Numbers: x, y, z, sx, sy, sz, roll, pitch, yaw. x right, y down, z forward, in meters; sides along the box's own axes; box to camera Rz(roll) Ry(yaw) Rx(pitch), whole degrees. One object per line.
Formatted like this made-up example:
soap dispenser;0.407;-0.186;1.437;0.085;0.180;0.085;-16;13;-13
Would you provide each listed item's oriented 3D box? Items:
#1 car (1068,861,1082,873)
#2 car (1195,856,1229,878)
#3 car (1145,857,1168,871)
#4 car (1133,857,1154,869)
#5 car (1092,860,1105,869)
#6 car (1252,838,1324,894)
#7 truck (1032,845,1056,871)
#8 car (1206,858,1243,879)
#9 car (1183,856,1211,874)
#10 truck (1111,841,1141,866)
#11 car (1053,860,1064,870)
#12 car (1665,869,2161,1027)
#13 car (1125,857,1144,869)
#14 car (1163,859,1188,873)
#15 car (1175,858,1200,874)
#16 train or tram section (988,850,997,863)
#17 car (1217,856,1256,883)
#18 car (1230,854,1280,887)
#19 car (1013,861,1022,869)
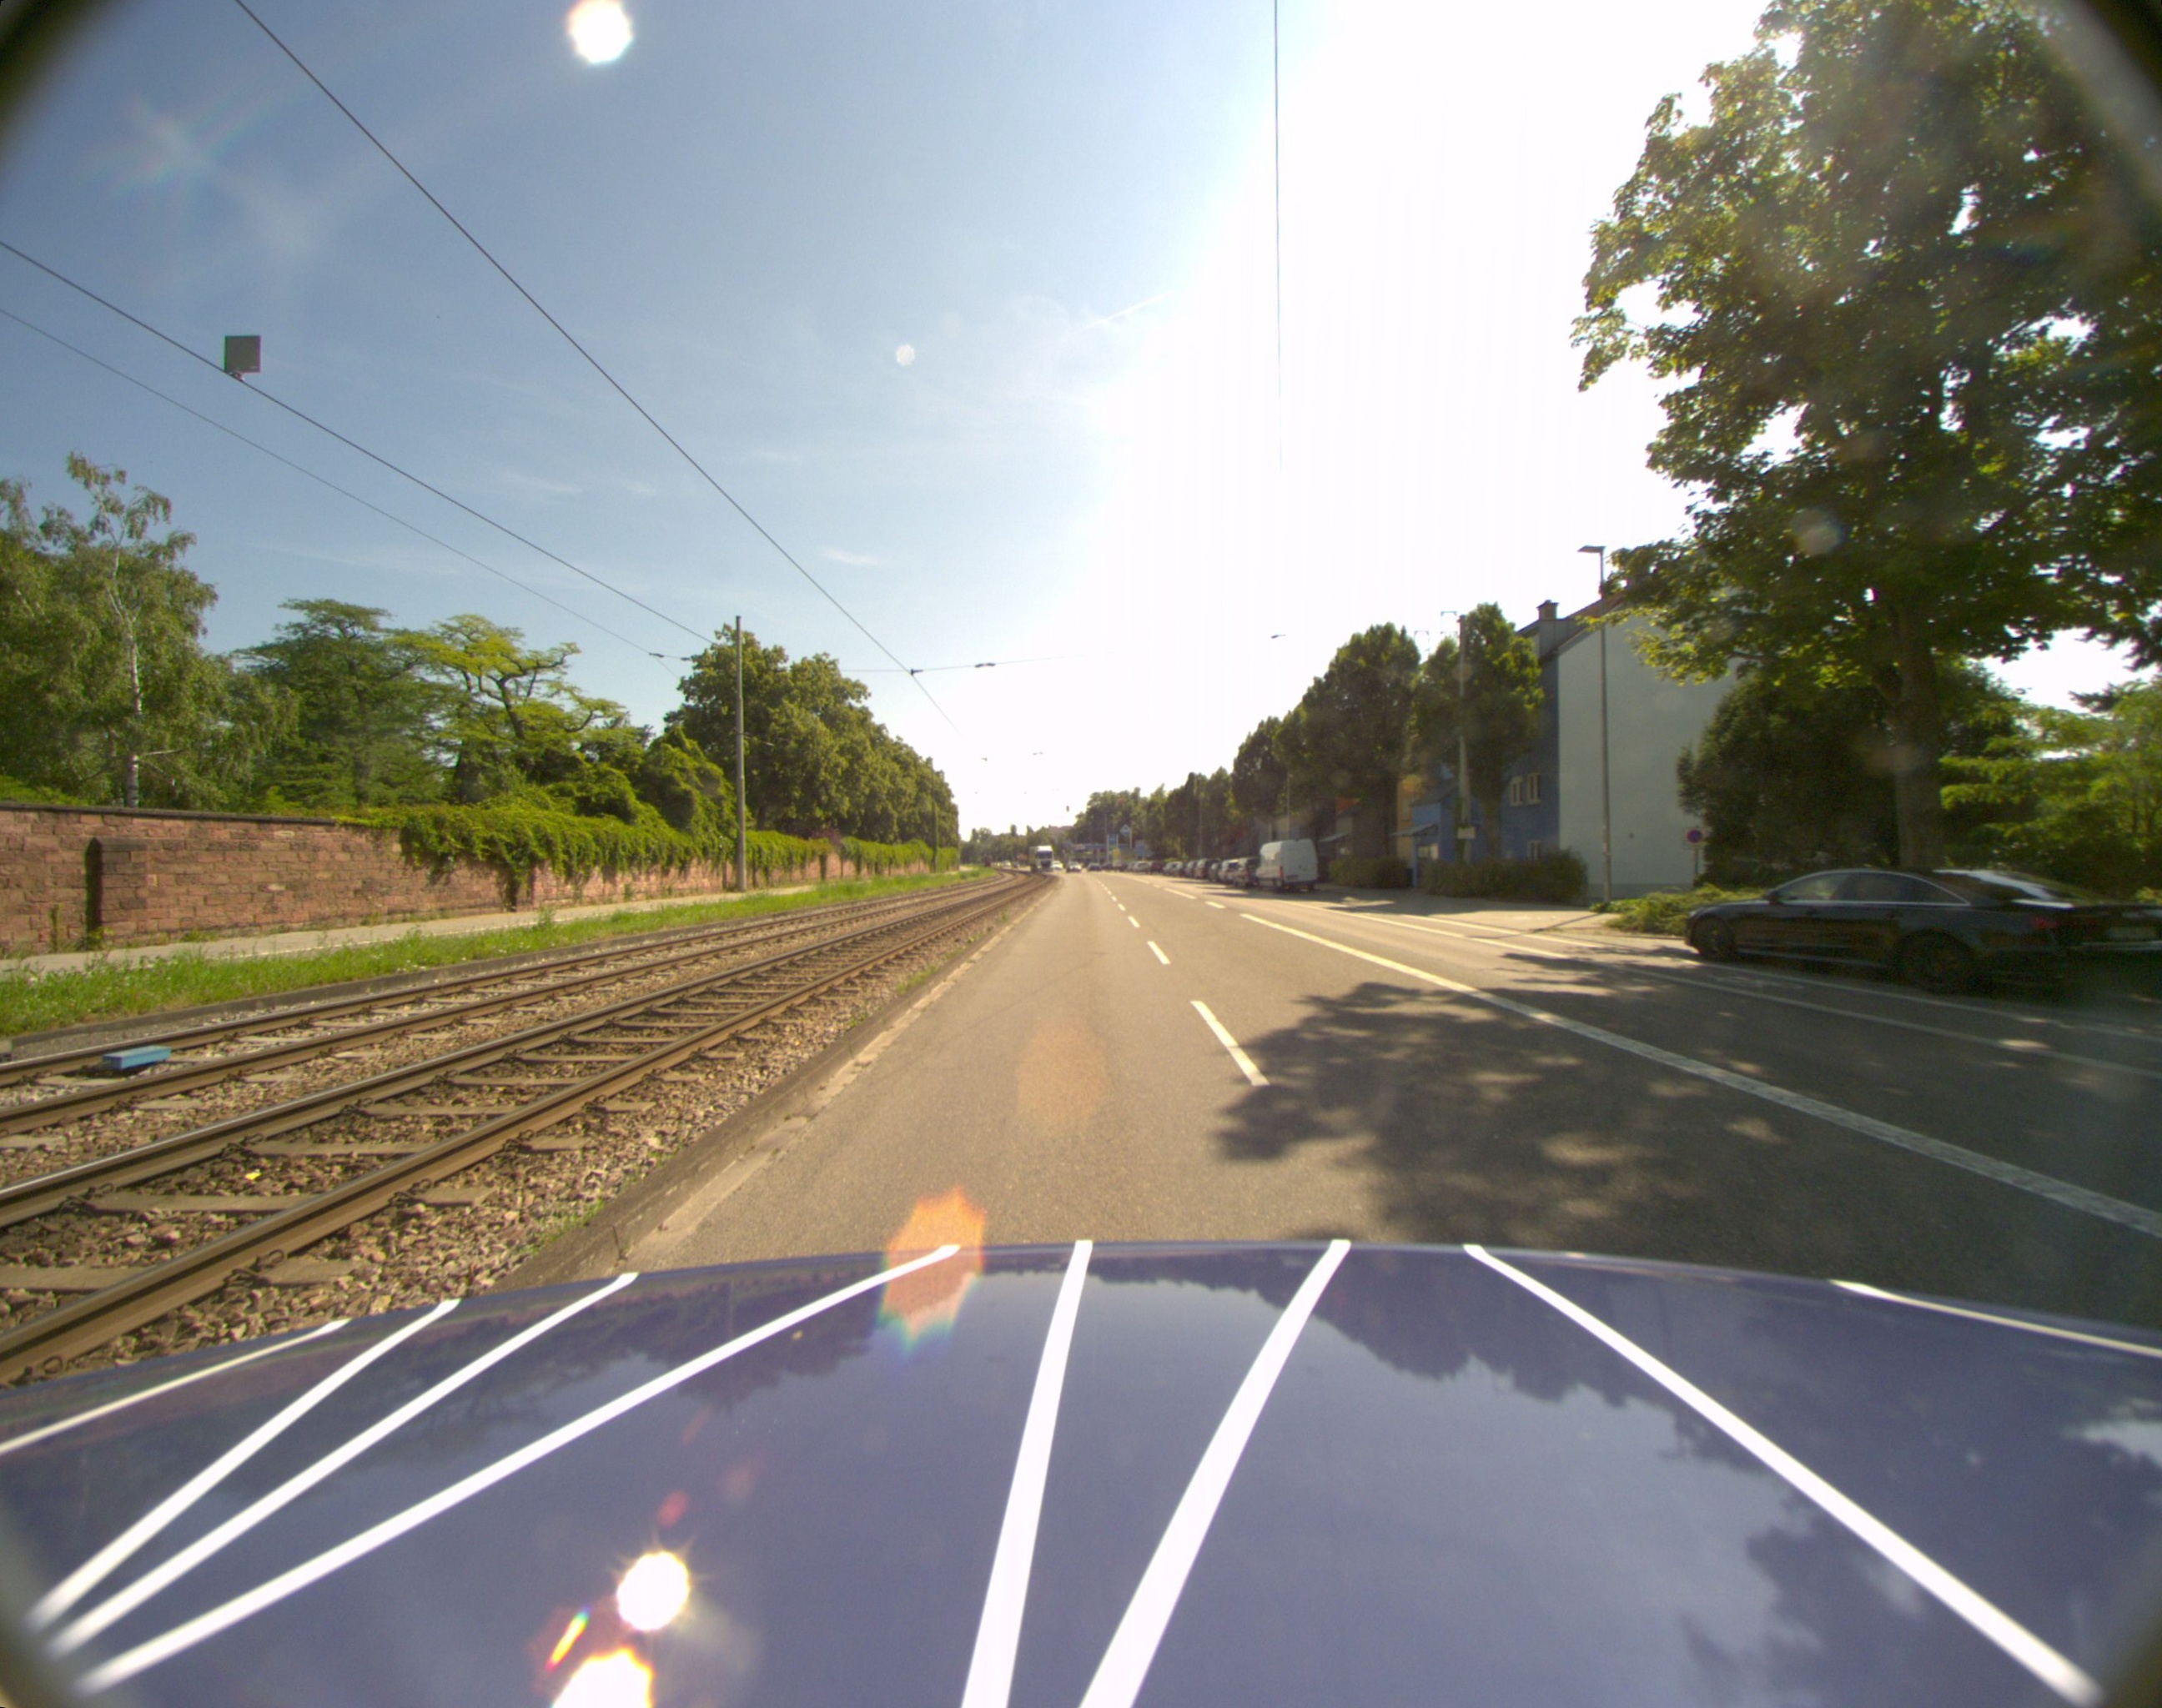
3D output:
car;-0.812;1.758;104.561;1.747;1.421;5.041;-2;0;1
car;11.169;1.101;65.055;1.834;1.718;4.349;-3;0;-3
car;9.365;1.207;94.752;1.911;1.567;4.929;-2;0;-6
car;8.424;1.240;102.406;2.040;1.490;4.131;-2;0;-6
car;2.523;1.487;109.802;1.691;1.237;4.064;2;0;1
car;11.037;0.594;41.086;1.998;2.661;7.087;-4;0;2
truck;-5.906;0.587;119.460;2.807;3.926;11.935;0;0;-8
car;11.278;1.087;59.916;1.871;1.447;4.074;-4;0;-3
car;10.725;0.999;70.289;1.681;1.598;4.164;-2;0;-3
truck;6.675;-0.071;114.727;3.165;3.533;8.780;-1;0;-6
car;-3.793;1.861;129.796;1.784;1.538;4.394;-2;0;0
car;10.556;0.982;9.992;1.845;1.457;4.909;-1;0;-3
car;7.524;1.235;106.996;1.915;1.469;4.213;-2;0;-6
car;10.349;1.263;83.240;1.682;1.437;4.835;-2;0;-6
car;10.707;1.224;76.433;1.681;1.461;4.212;-2;0;-3
train or tram section;-28.591;0.807;245.906;2.722;3.716;18.869;-2;0;-6
car;11.140;1.049;54.739;1.852;1.693;4.540;-4;0;1
car;11.177;1.000;49.178;1.998;1.855;4.967;-5;0;1
car;-15.098;2.510;180.163;1.854;1.707;3.999;-3;1;-1
